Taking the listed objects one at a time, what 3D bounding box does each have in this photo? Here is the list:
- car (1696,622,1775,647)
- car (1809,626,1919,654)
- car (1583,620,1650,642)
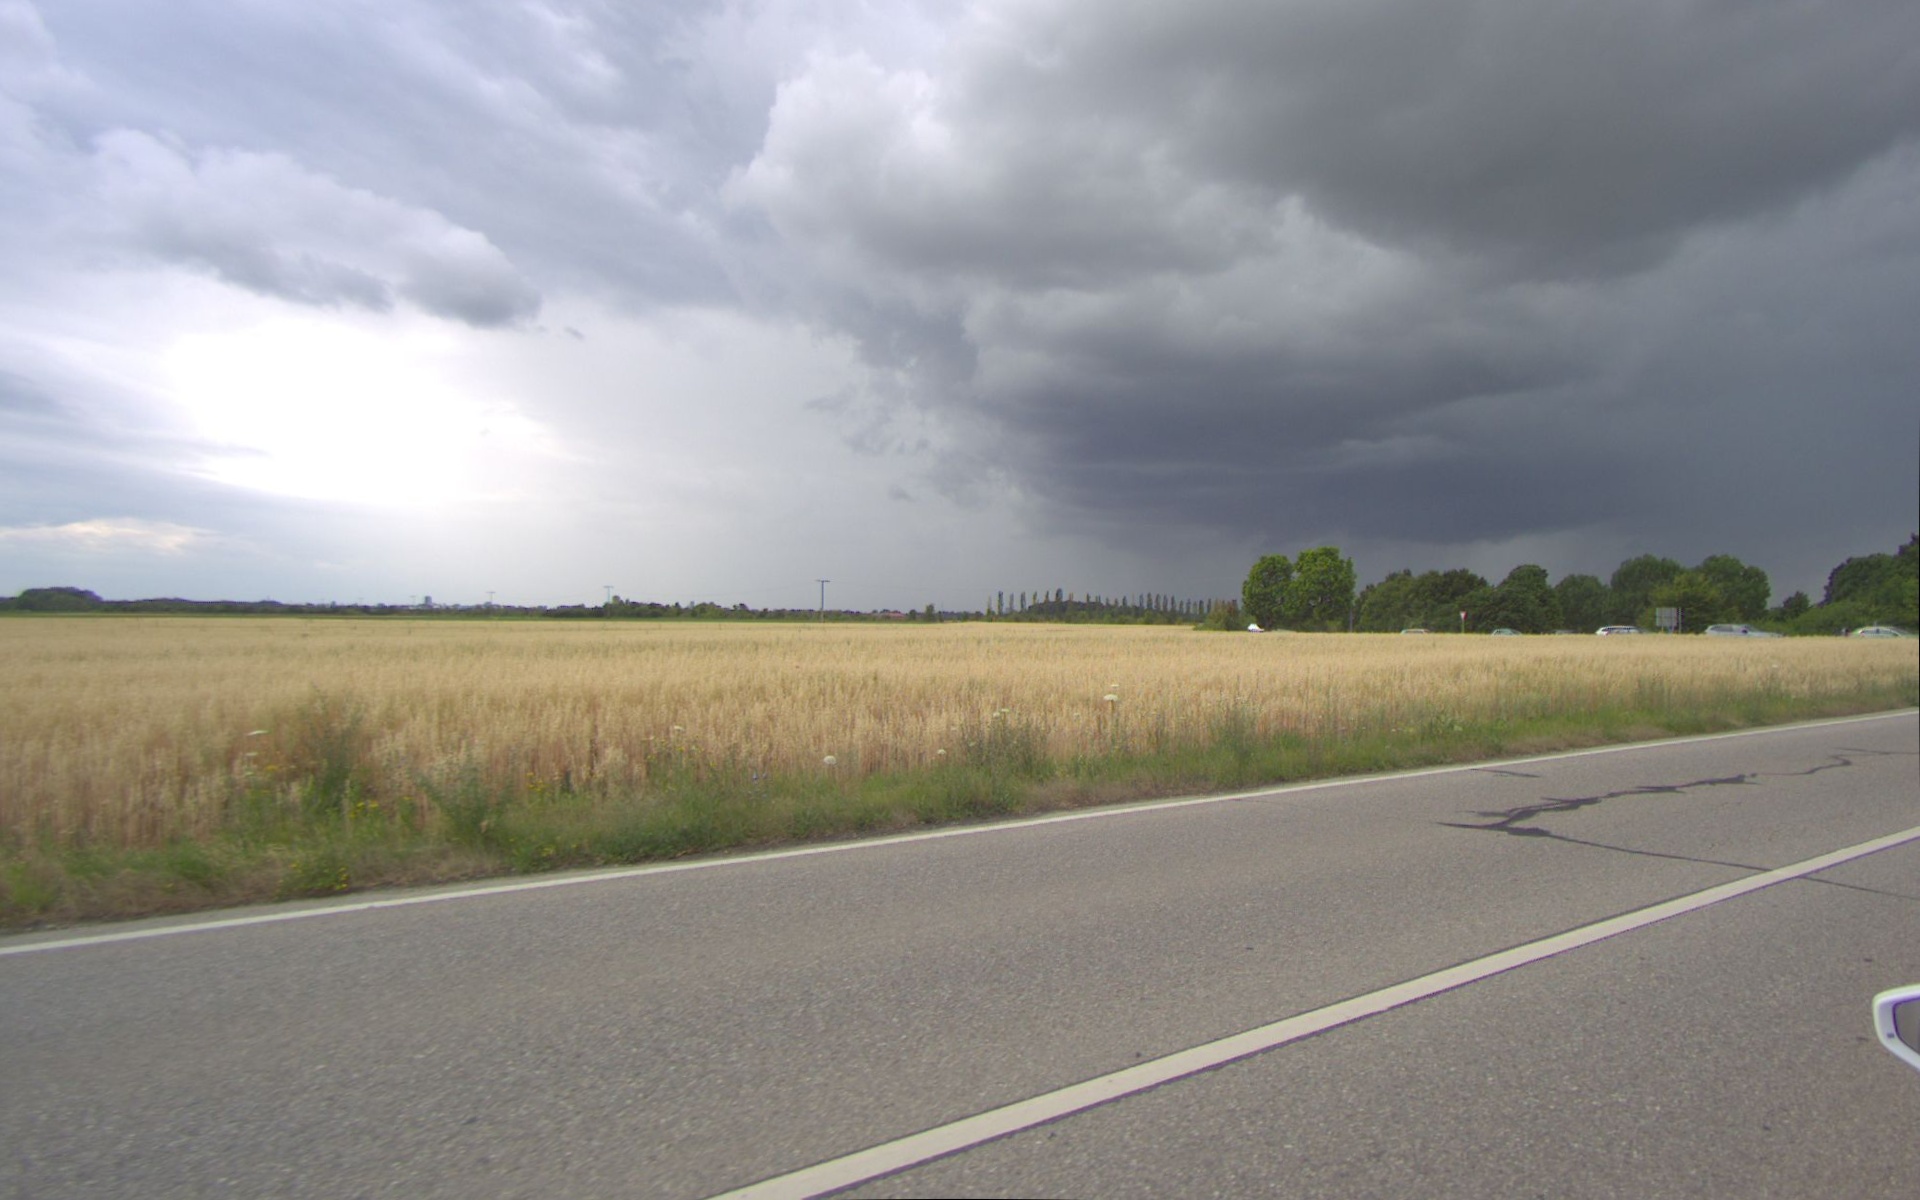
[{"bbox_3d":[54.364,2.419,70.498,1.841,1.671,4.059,1,-1,-26],"label":"car"},{"bbox_3d":[57.577,2.505,63.784,1.841,1.671,5.292,1,-1,-26],"label":"car"},{"bbox_3d":[50.721,2.390,77.671,1.841,1.671,4.059,1,-1,-26],"label":"car"}]
